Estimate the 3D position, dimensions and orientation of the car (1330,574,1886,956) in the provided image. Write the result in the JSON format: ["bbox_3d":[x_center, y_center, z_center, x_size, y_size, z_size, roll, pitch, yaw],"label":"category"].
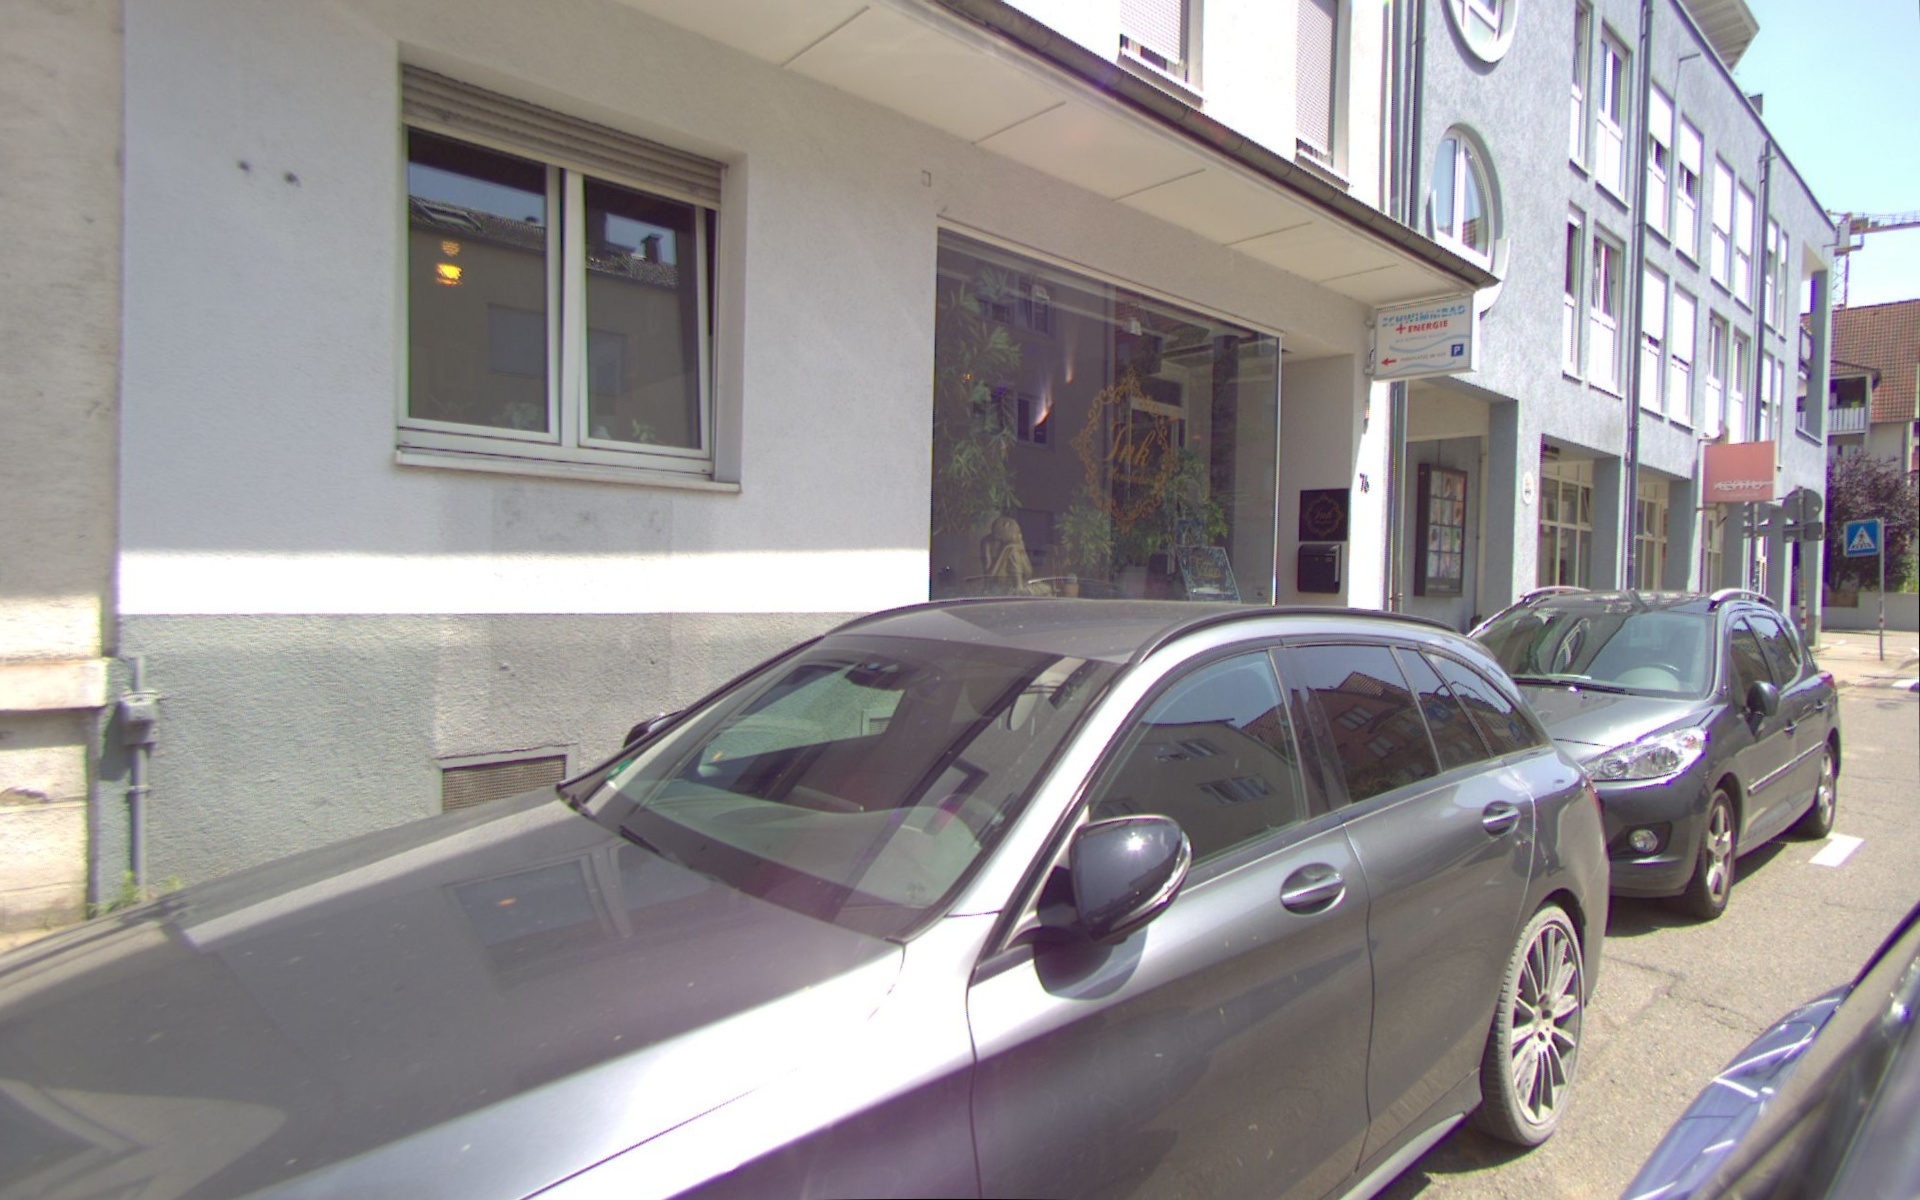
[{"bbox_3d":[4.042,0.649,6.052,3.930,1.526,1.713,0,2,-41],"label":"car"}]

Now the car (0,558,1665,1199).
[{"bbox_3d":[0.145,0.665,2.565,4.467,1.437,1.732,0,2,-42],"label":"car"}]
